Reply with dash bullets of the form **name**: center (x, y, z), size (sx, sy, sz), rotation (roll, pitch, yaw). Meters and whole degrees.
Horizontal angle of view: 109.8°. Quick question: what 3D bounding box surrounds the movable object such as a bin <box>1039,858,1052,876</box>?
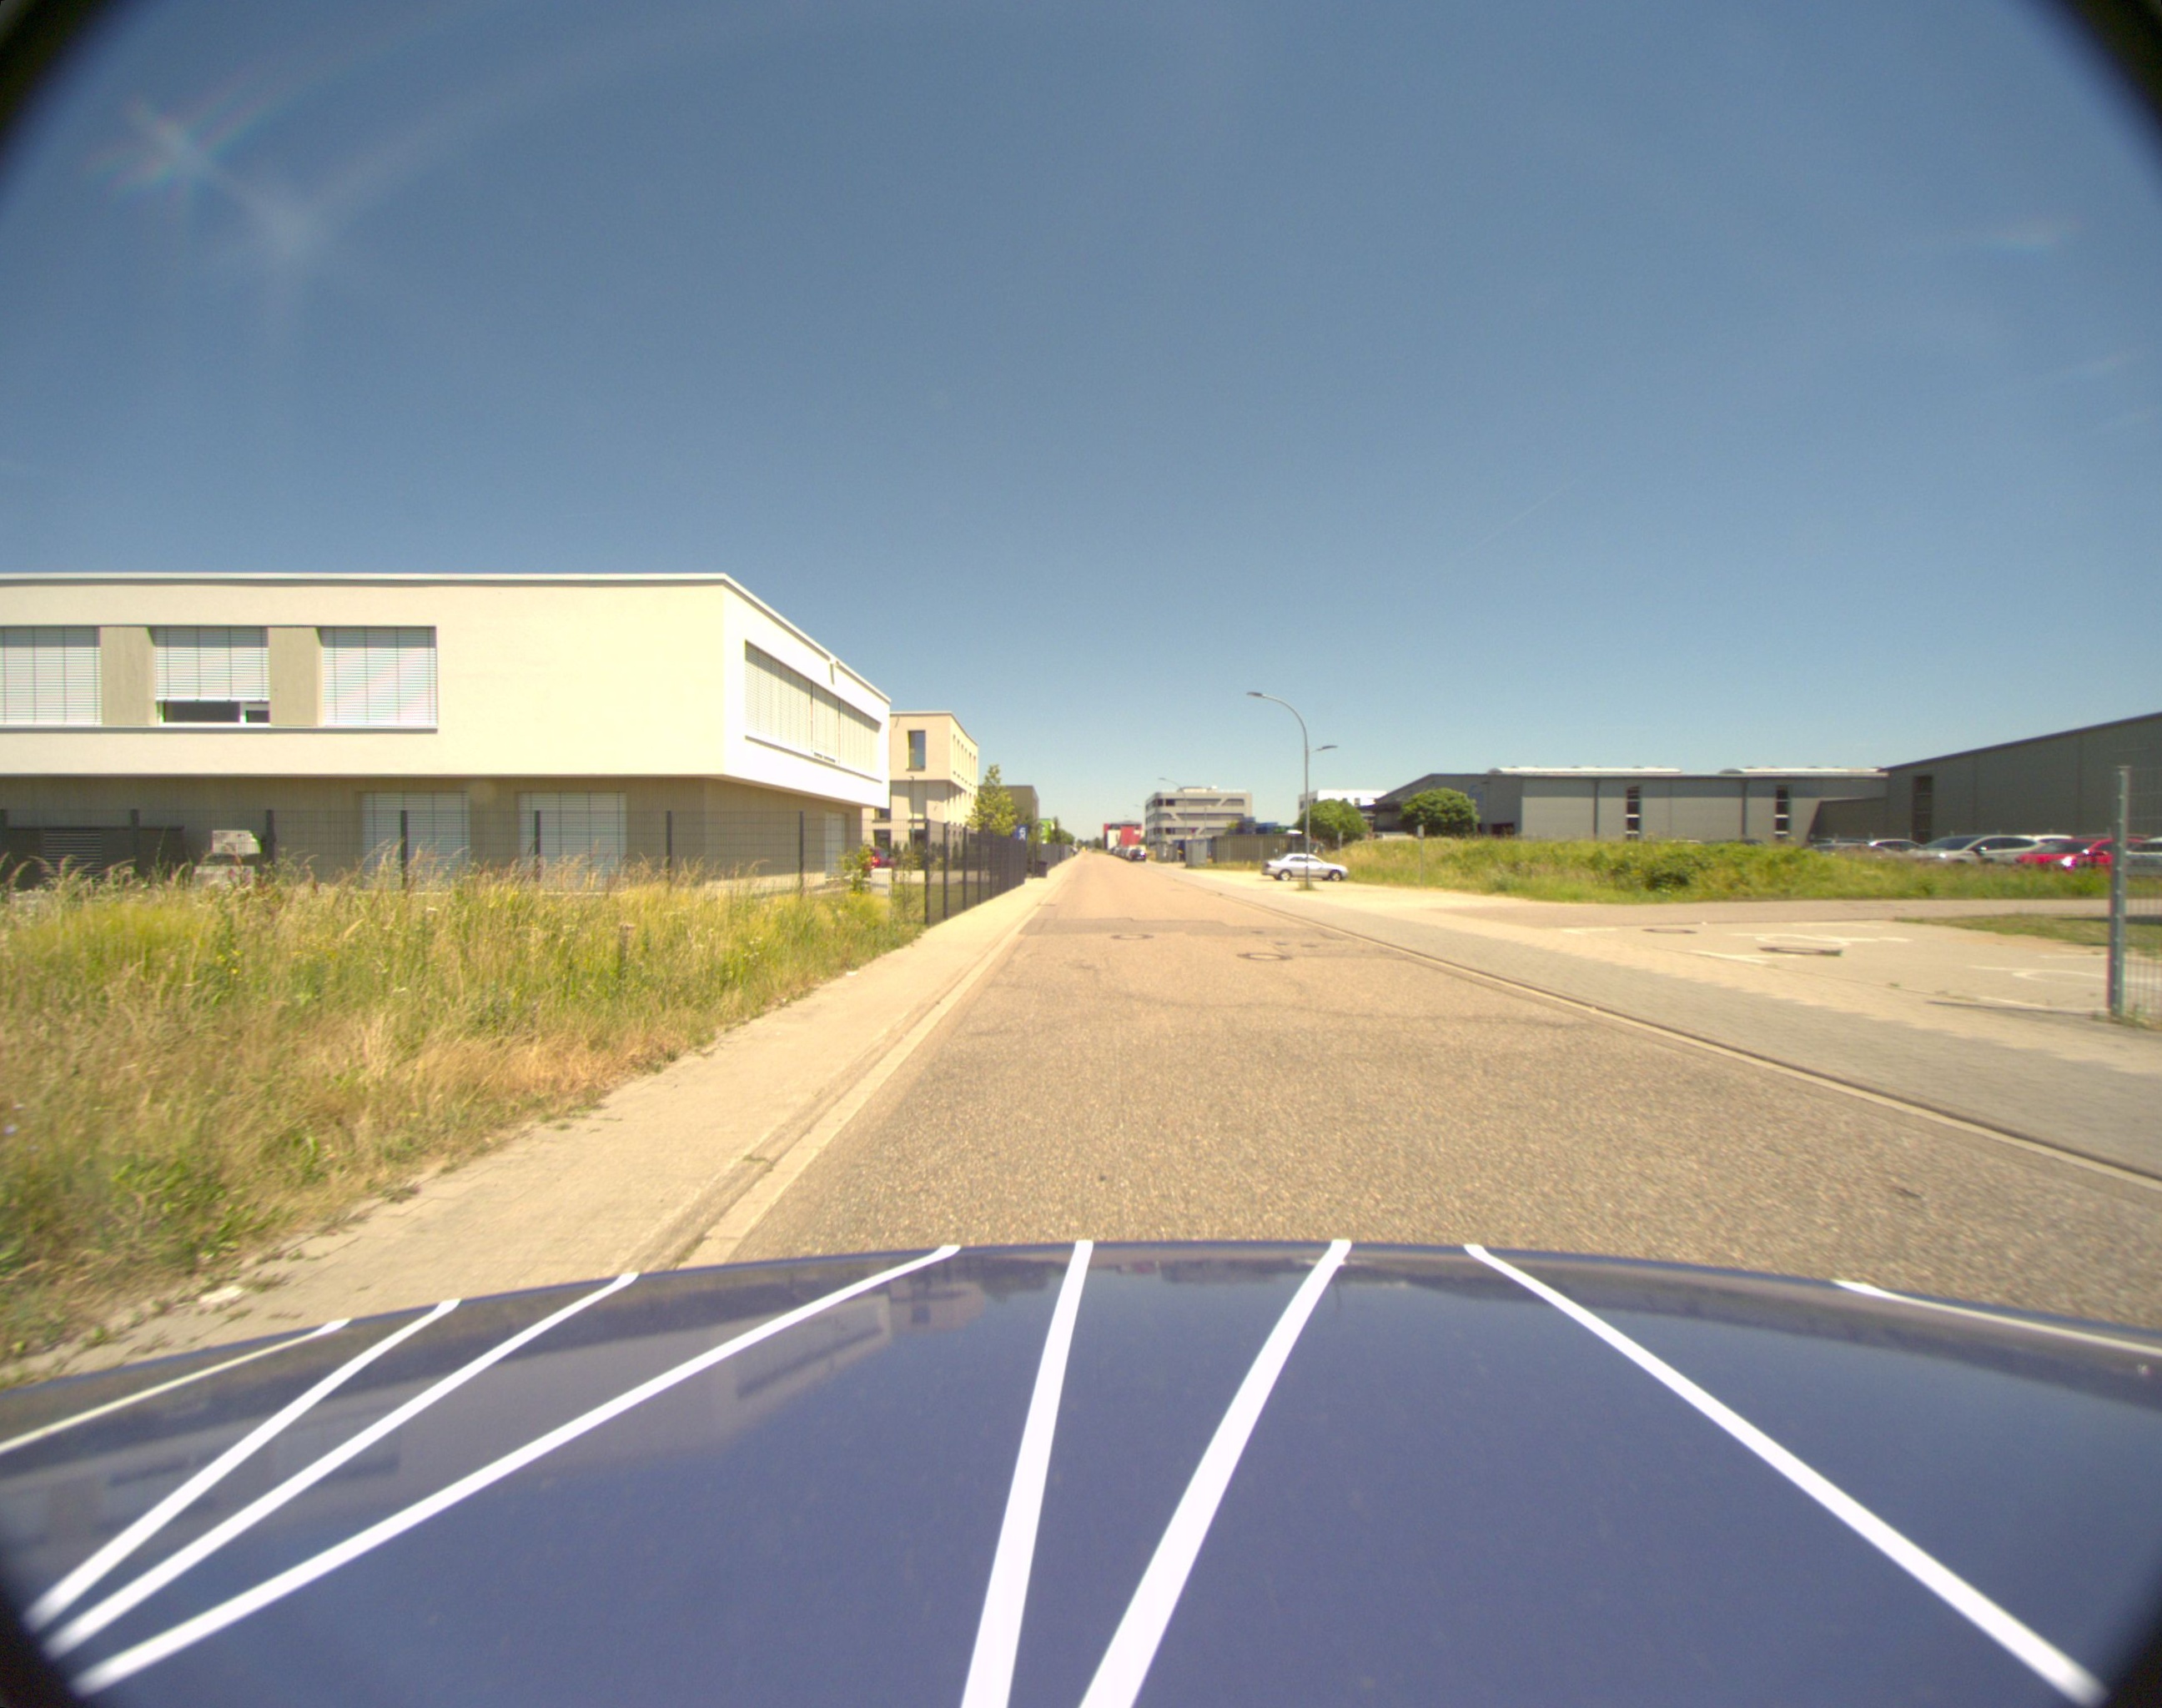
- **movable object such as a bin**: center (-2.132, 0.777, 45.528), size (0.749, 1.042, 0.698), rotation (1, 1, 1)

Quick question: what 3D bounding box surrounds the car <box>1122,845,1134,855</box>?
- **car**: center (7.658, -0.644, 123.693), size (1.659, 1.573, 3.777), rotation (-2, 1, 1)

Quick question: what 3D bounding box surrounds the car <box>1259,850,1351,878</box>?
- **car**: center (11.650, 0.506, 39.751), size (4.257, 1.371, 1.862), rotation (1, 1, 2)

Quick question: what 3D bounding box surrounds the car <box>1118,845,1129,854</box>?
- **car**: center (7.927, -0.862, 142.339), size (1.772, 1.521, 3.777), rotation (-2, 1, 1)

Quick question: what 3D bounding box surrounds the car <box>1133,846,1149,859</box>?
- **car**: center (7.306, -0.187, 92.664), size (1.695, 1.481, 3.660), rotation (-2, 1, 1)

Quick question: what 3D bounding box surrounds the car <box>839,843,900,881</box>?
- **car**: center (-9.297, 0.360, 33.699), size (1.673, 1.548, 4.077), rotation (0, -1, -2)

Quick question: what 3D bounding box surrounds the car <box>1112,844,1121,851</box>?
- **car**: center (8.174, -1.437, 174.887), size (1.772, 1.521, 3.777), rotation (-2, 1, 1)

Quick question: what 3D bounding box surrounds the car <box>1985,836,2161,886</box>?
- **car**: center (31.964, 0.204, 24.355), size (3.889, 1.390, 1.738), rotation (-2, 1, 0)

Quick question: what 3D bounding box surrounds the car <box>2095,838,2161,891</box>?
- **car**: center (31.562, 0.235, 21.310), size (3.889, 1.390, 1.738), rotation (-2, 1, 0)

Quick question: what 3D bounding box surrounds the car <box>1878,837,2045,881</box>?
- **car**: center (31.190, 0.150, 26.988), size (3.889, 1.390, 1.738), rotation (-2, 1, 0)

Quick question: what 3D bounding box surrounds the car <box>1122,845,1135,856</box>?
- **car**: center (7.024, -0.543, 112.679), size (1.772, 1.462, 3.777), rotation (-3, 1, 1)

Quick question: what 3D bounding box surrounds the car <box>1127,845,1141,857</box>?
- **car**: center (7.227, -0.434, 104.073), size (1.772, 1.521, 3.777), rotation (-2, 1, 1)
